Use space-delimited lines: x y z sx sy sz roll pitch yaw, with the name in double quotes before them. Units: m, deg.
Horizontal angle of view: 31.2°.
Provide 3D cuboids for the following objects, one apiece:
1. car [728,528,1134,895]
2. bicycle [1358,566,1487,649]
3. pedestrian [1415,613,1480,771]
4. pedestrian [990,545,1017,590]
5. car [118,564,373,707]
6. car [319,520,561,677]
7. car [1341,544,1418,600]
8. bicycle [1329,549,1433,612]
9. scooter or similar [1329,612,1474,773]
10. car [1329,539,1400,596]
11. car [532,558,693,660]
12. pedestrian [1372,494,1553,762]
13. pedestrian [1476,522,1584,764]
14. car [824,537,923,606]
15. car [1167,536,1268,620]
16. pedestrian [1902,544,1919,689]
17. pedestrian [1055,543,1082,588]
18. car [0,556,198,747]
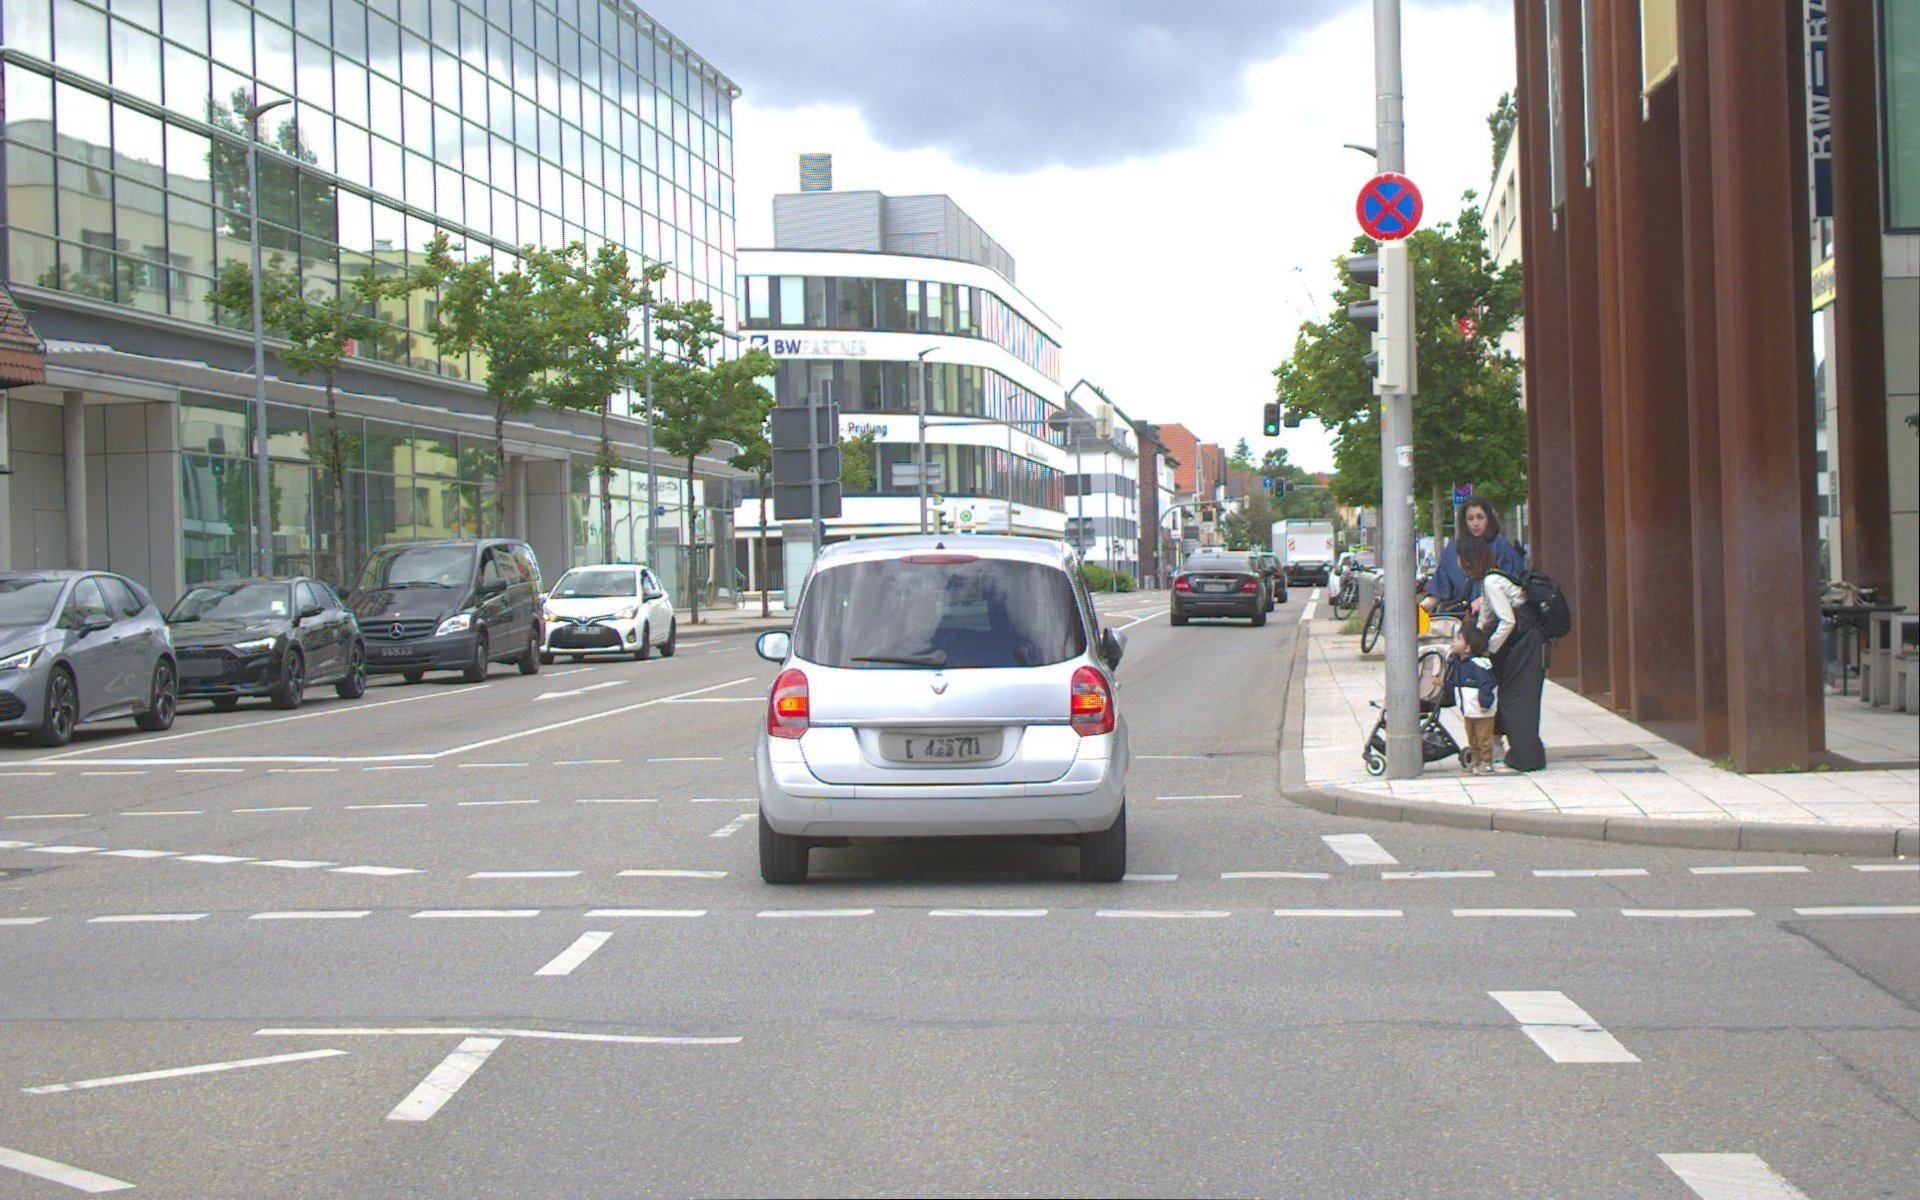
"car" -0.035 0.440 16.526 1.670 1.549 3.642 1 1 4
"bicycle" 5.784 0.091 42.975 1.561 0.989 0.752 -1 1 9
"pedestrian" 2.920 0.548 20.585 0.362 0.921 0.454 -1 1 8
"pedestrian" 1.776 -1.328 140.409 0.961 1.827 1.250 -2 1 6
"car" -7.794 0.353 37.853 1.702 1.438 4.000 -1 1 4
"car" -6.839 -0.059 45.818 1.866 1.903 5.112 -2 1 6
"car" 10.581 -0.724 86.962 1.878 1.330 3.999 1 1 6
"bicycle" 7.692 -0.358 62.841 1.825 1.071 0.752 -2 1 5
"scooter or similar" 2.721 0.560 21.178 0.634 0.958 0.619 -1 1 40
"car" 10.981 -0.903 93.435 1.878 1.503 3.999 1 1 6
"car" -5.416 0.108 53.979 1.660 1.460 3.999 -2 1 6
"pedestrian" 3.165 0.163 21.646 0.872 1.641 0.679 0 1 40
"pedestrian" 3.397 0.250 20.513 0.601 1.415 0.582 -1 1 8
"car" -1.952 -0.660 78.499 1.660 1.475 3.999 -2 1 6
"car" 4.977 -0.451 66.071 1.670 1.549 3.641 1 1 8
"pedestrian" 8.237 0.133 29.079 0.448 1.216 0.606 -1 1 10
"pedestrian" 4.468 -1.423 141.015 0.961 1.827 1.250 -2 1 6
"car" -8.390 0.434 30.807 1.759 1.512 4.386 -3 1 5
